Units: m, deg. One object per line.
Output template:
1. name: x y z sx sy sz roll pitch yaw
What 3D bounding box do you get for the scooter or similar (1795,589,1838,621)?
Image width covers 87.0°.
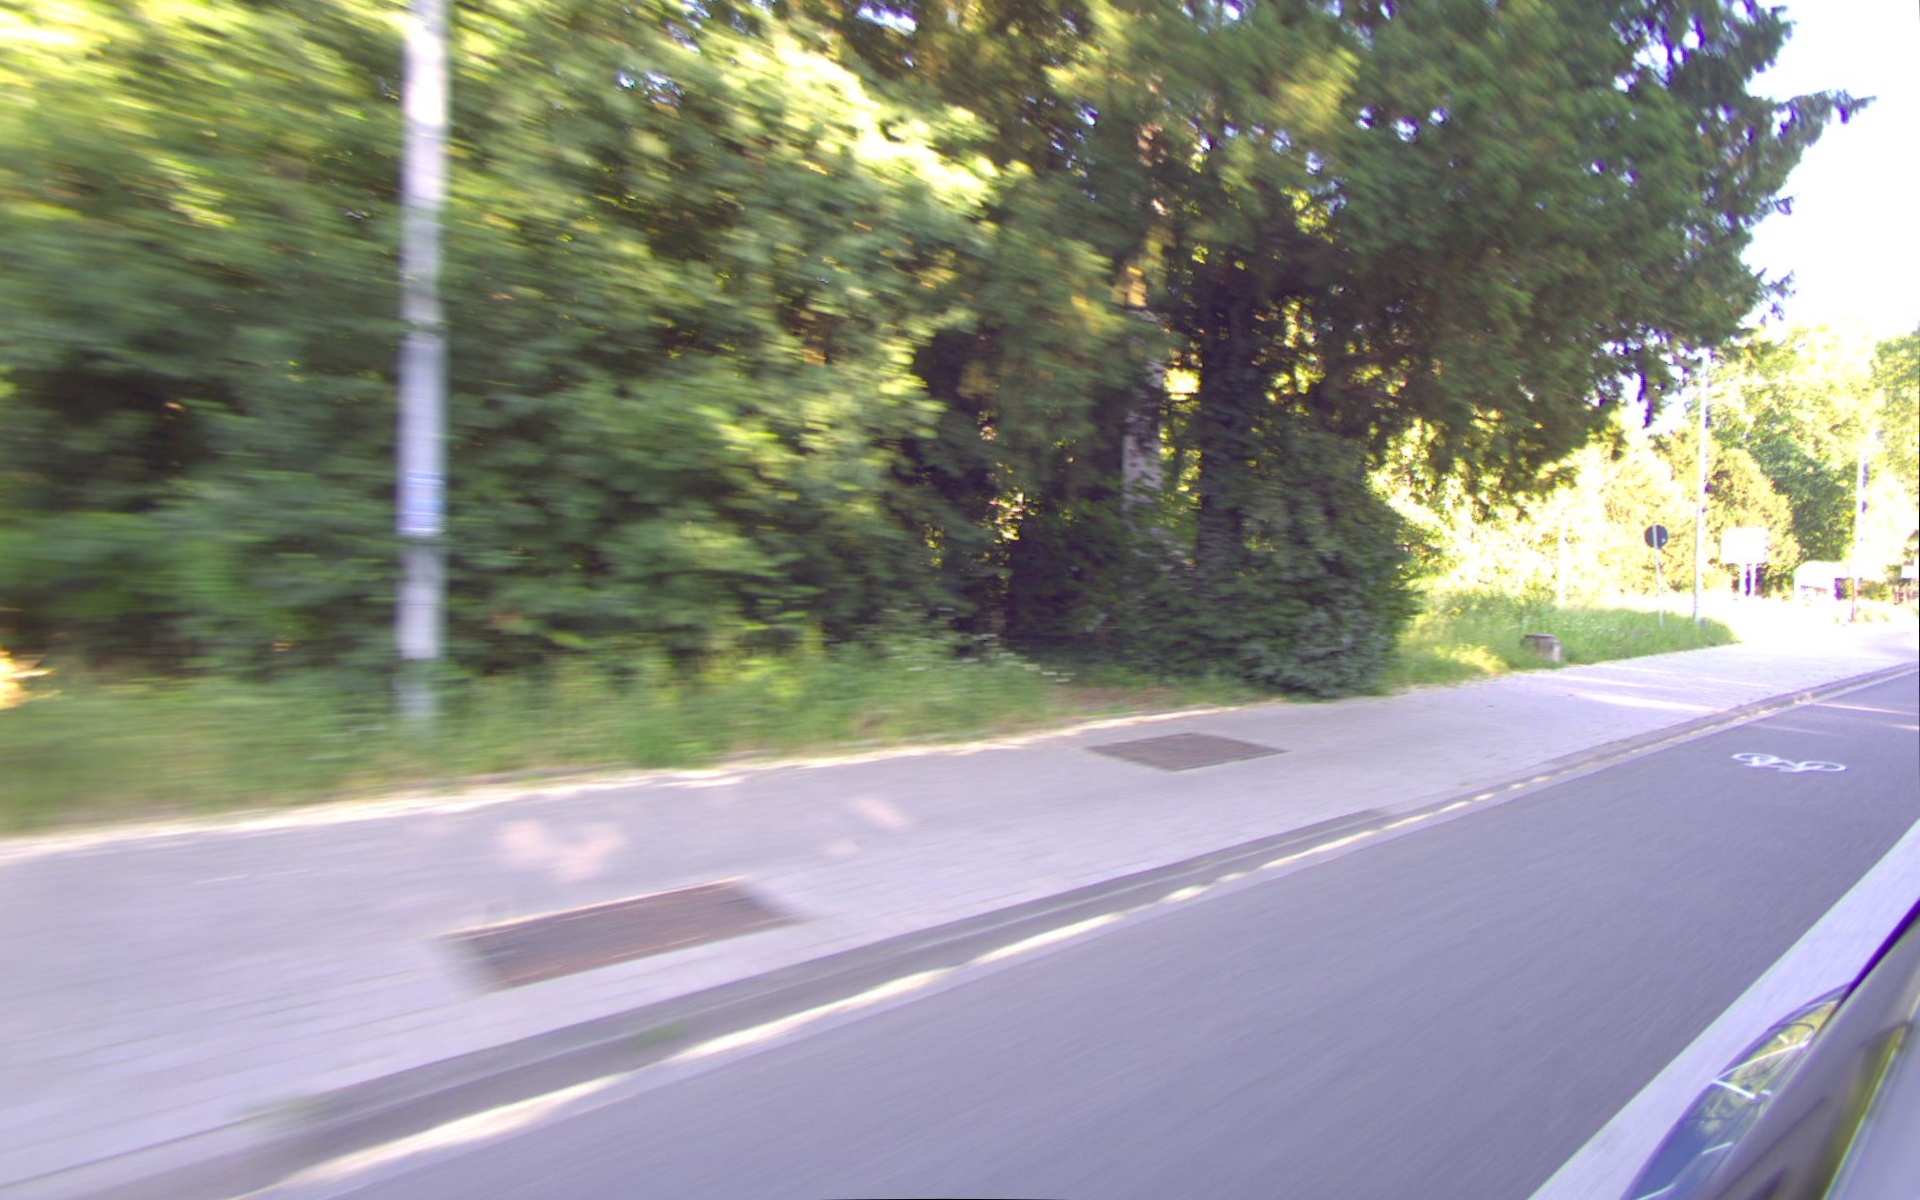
1. scooter or similar: 35.420 0.197 41.852 1.300 1.263 0.726 1 1 -17
